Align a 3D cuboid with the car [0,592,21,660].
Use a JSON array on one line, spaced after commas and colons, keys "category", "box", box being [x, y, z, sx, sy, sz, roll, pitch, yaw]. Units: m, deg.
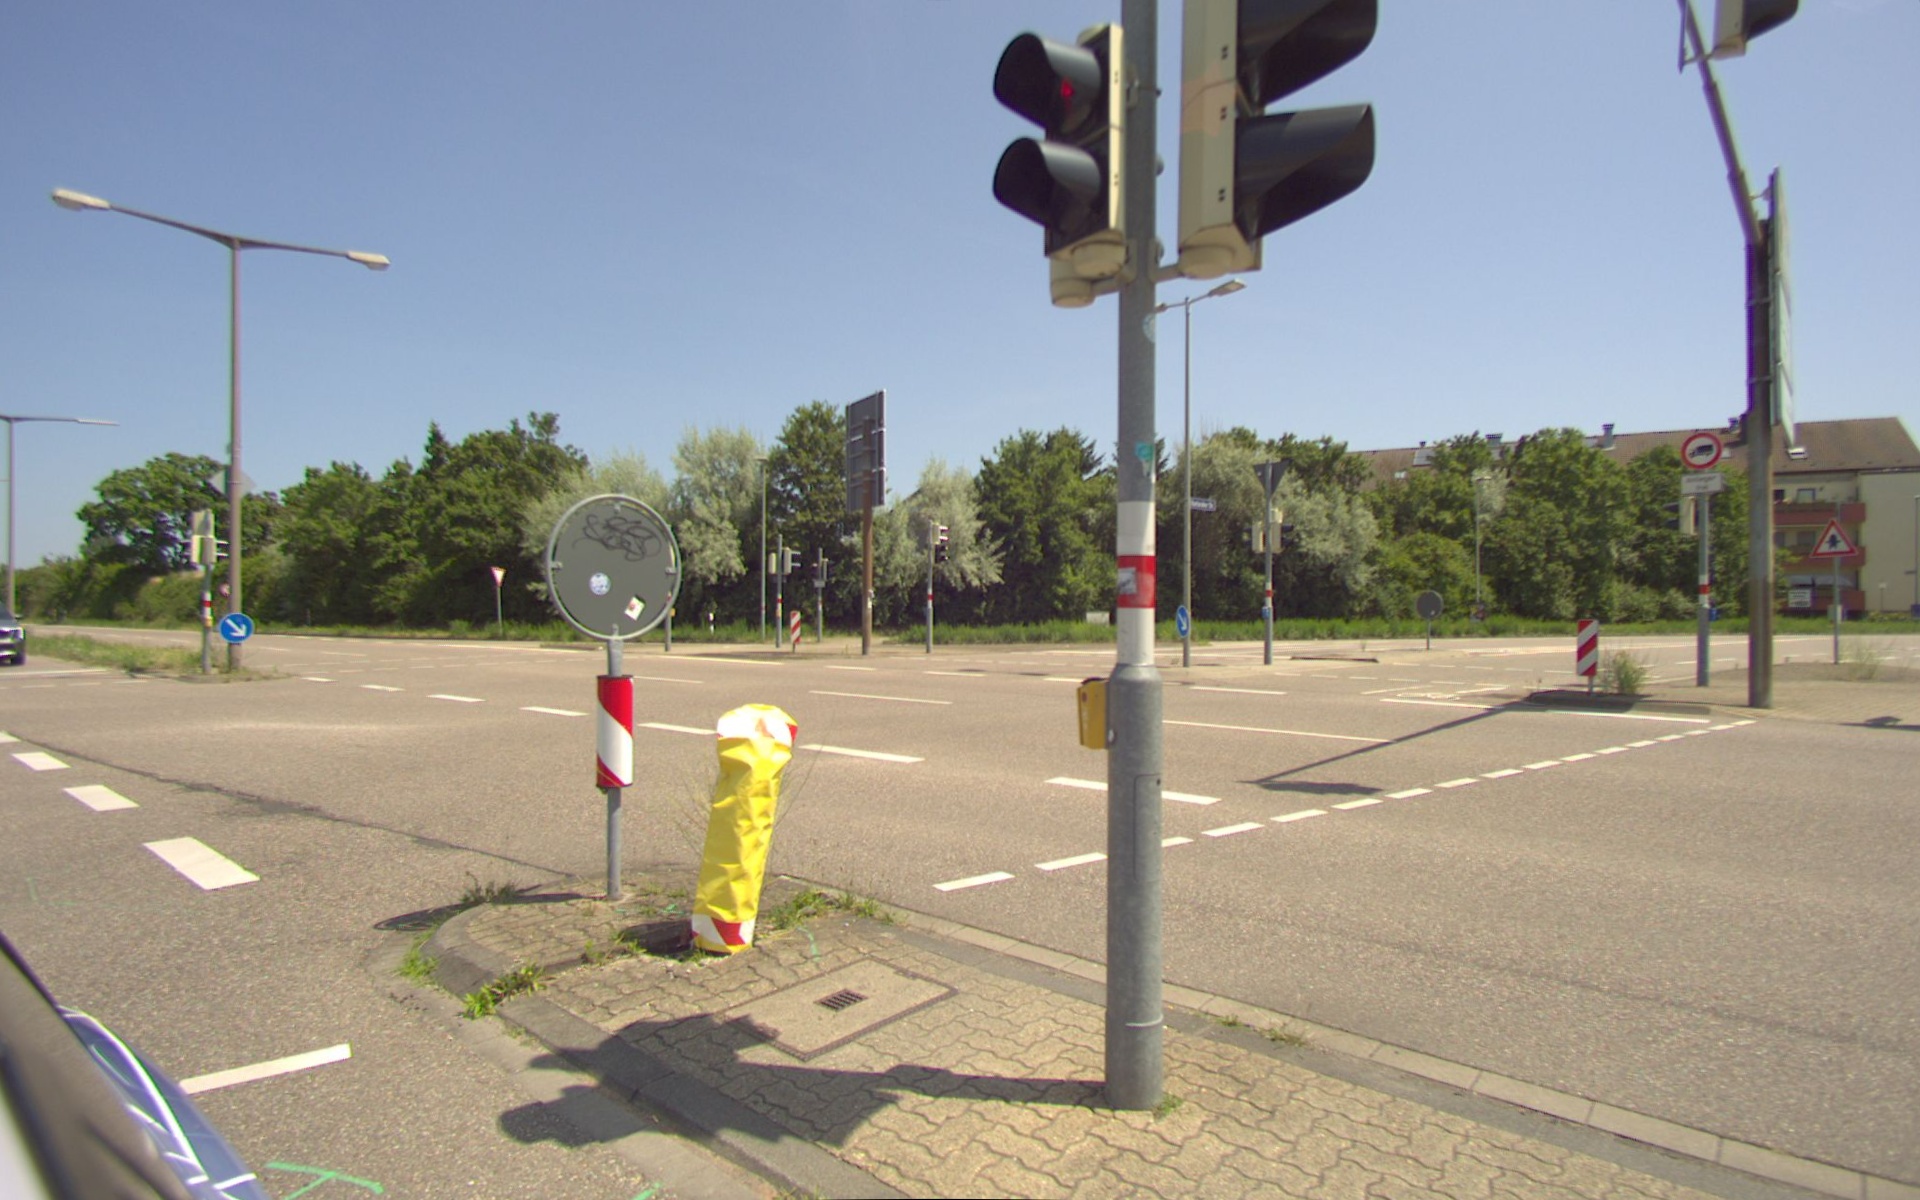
[{"category": "car", "box": [-25.675, 0.646, 25.992, 4.528, 1.681, 1.762, 0, -1, 40]}]
